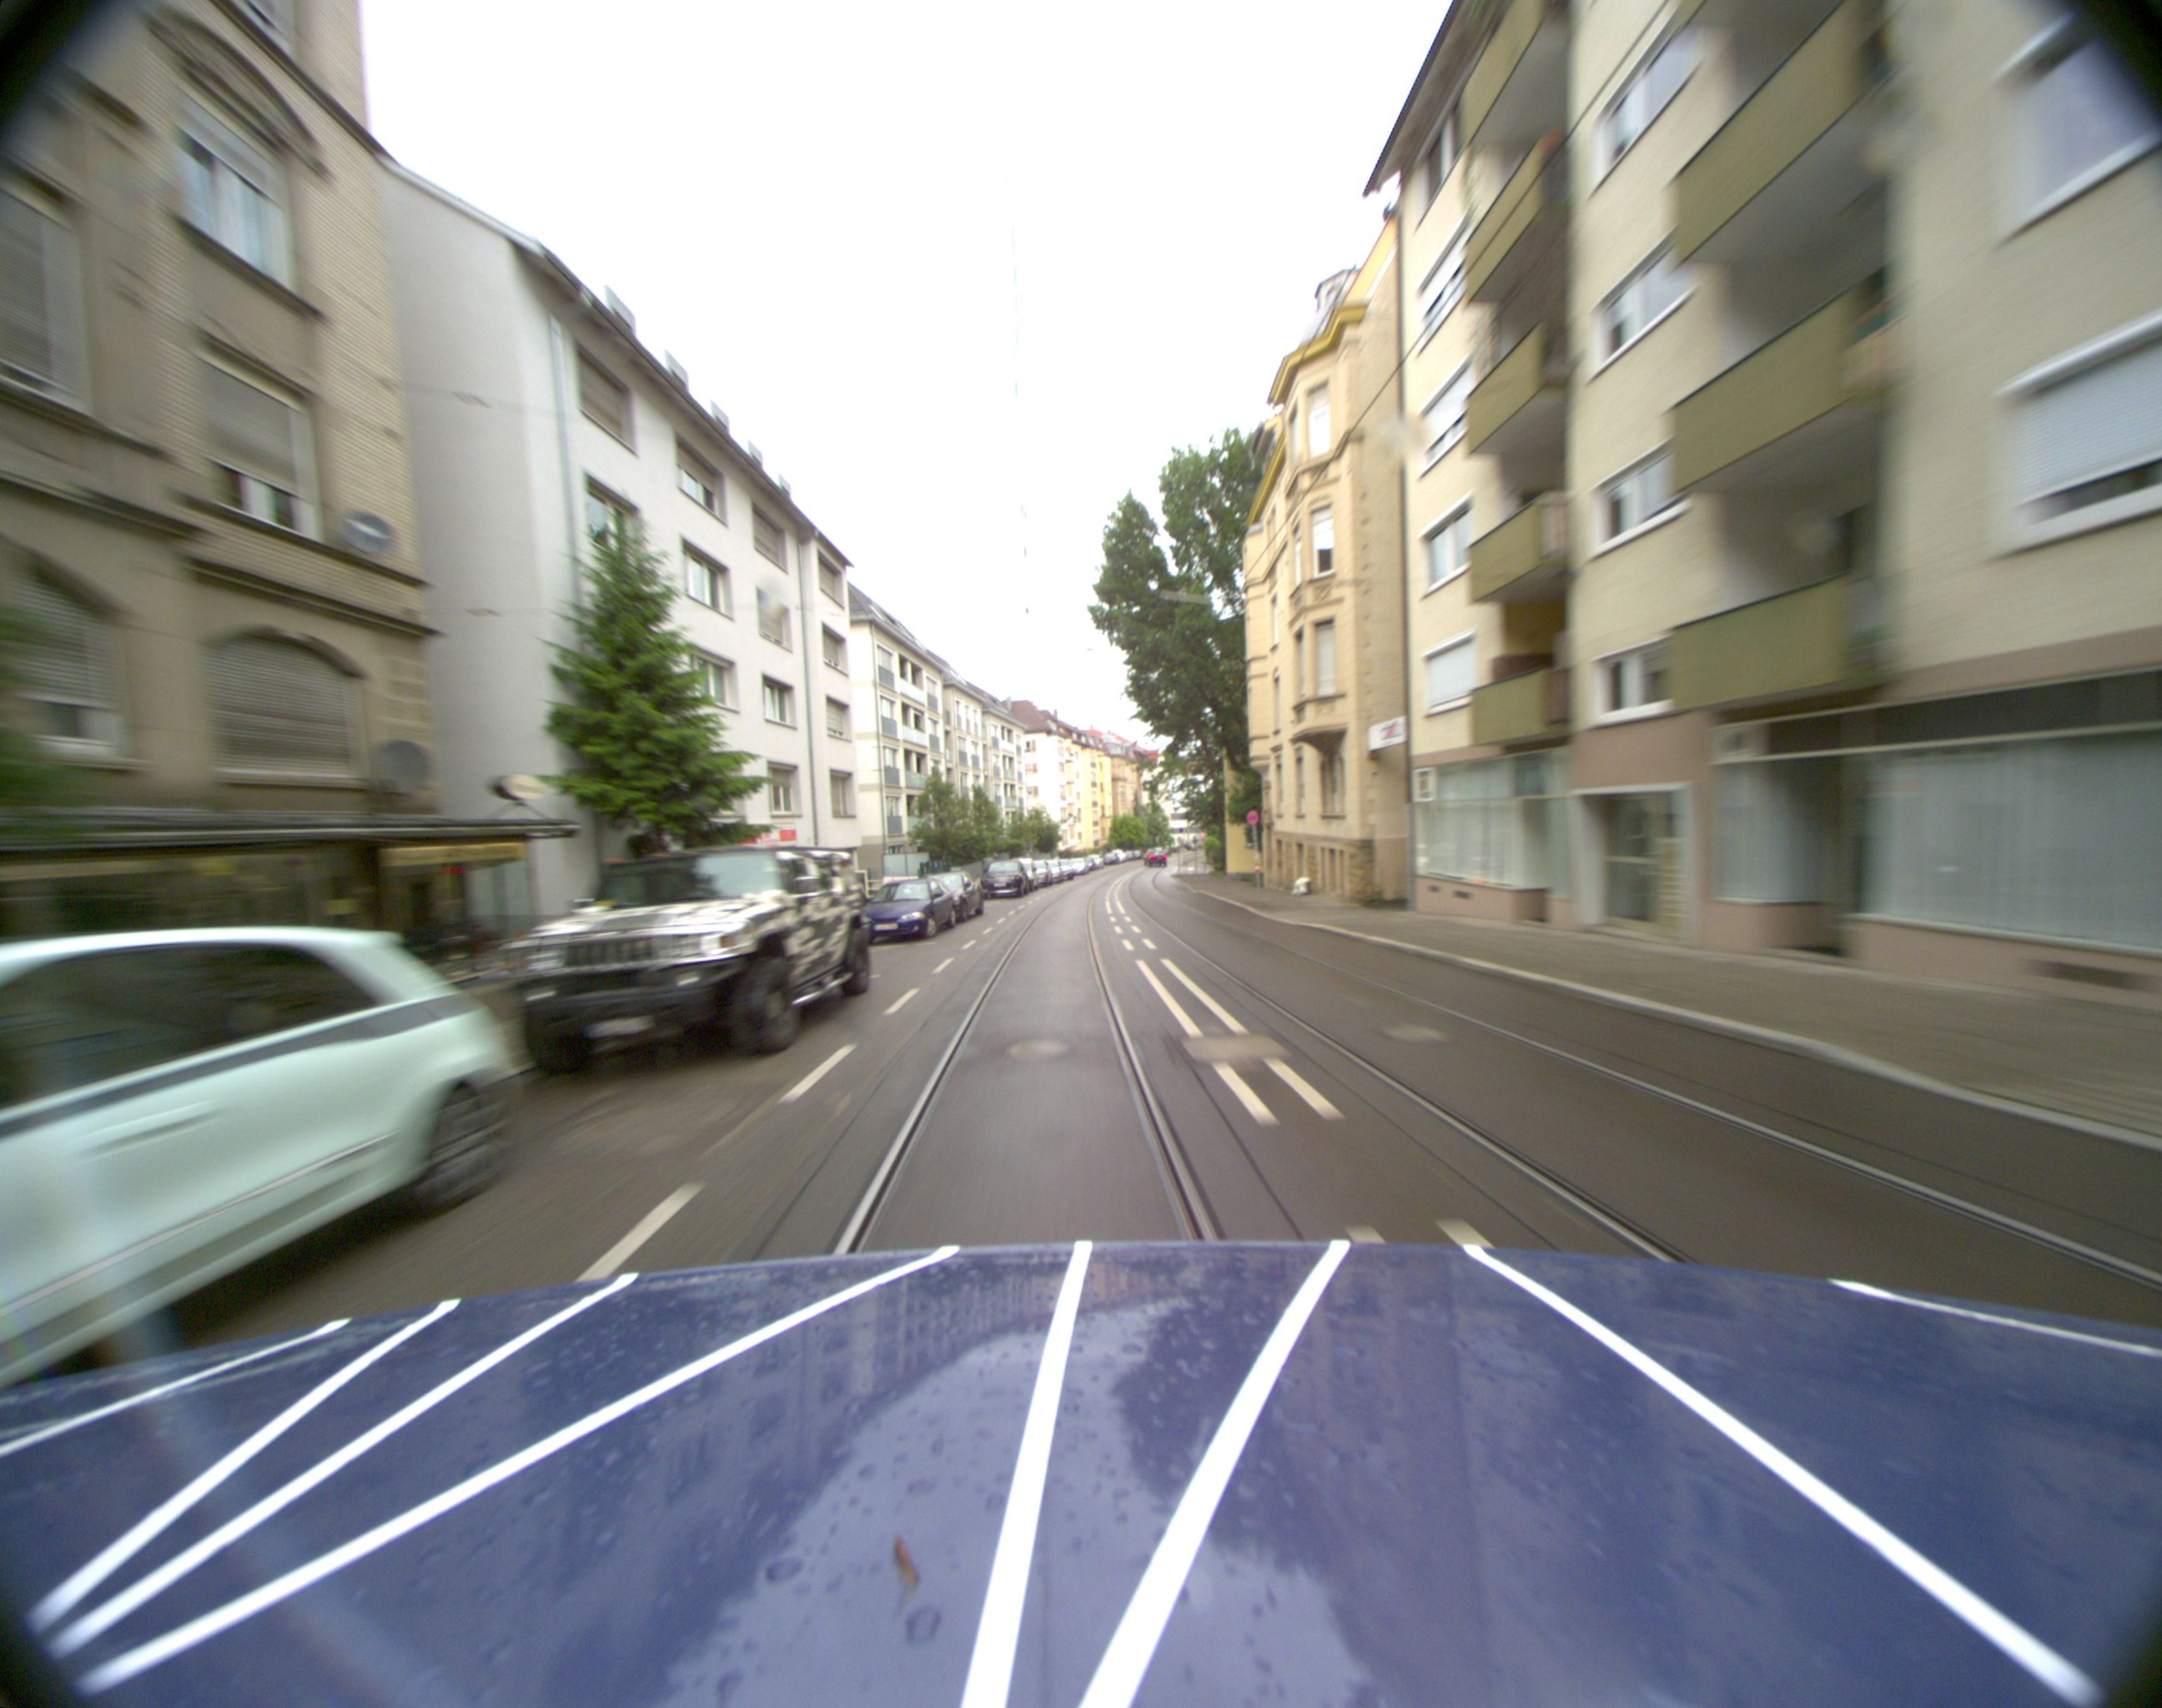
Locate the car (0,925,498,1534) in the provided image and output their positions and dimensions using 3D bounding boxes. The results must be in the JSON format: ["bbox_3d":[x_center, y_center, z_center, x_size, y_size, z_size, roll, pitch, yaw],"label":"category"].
[{"bbox_3d":[-3.887,1.208,2.272,1.564,1.537,3.583,-5,0,-4],"label":"car"}]

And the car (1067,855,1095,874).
[{"bbox_3d":[0.039,0.914,68.398,1.862,1.507,4.791,-3,0,7],"label":"car"}]

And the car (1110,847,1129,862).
[{"bbox_3d":[4.880,0.037,96.701,1.797,1.613,3.870,-4,1,11],"label":"car"}]

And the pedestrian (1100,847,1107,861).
[{"bbox_3d":[2.783,-0.005,94.848,0.716,1.703,0.665,1,2,14],"label":"pedestrian"}]

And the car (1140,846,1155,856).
[{"bbox_3d":[10.302,-0.525,117.888,1.555,1.360,3.127,-3,1,18],"label":"car"}]

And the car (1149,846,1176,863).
[{"bbox_3d":[8.787,0.024,81.502,2.067,1.668,4.775,0,2,16],"label":"car"}]

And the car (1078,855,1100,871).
[{"bbox_3d":[0.829,0.867,75.704,1.599,1.416,3.516,-3,0,9],"label":"car"}]

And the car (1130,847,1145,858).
[{"bbox_3d":[8.286,-0.275,110.967,1.657,1.360,3.638,-4,1,13],"label":"car"}]

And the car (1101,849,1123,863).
[{"bbox_3d":[3.796,0.271,91.559,1.797,1.444,4.106,-4,1,14],"label":"car"}]

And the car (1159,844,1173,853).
[{"bbox_3d":[14.682,-0.971,131.183,1.612,1.434,3.692,-3,1,18],"label":"car"}]

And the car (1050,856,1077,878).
[{"bbox_3d":[-1.336,0.983,59.376,1.980,1.575,4.566,-3,0,0],"label":"car"}]

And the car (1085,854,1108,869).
[{"bbox_3d":[1.701,0.754,81.221,1.721,1.458,4.393,-3,0,11],"label":"car"}]

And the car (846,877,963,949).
[{"bbox_3d":[-4.103,1.330,18.313,1.682,1.330,3.883,-4,0,2],"label":"car"}]

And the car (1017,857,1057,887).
[{"bbox_3d":[-2.734,1.084,48.223,1.836,1.646,4.687,-3,1,4],"label":"car"}]

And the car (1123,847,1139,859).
[{"bbox_3d":[6.975,-0.143,105.561,1.589,1.434,3.478,-4,1,11],"label":"car"}]

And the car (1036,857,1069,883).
[{"bbox_3d":[-1.946,1.072,53.636,1.836,1.618,4.664,-3,0,3],"label":"car"}]

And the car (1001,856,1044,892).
[{"bbox_3d":[-3.198,1.081,42.185,1.782,1.784,4.472,-3,0,2],"label":"car"}]

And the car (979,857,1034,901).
[{"bbox_3d":[-3.481,1.134,36.587,1.947,1.785,4.821,-4,1,1],"label":"car"}]

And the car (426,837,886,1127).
[{"bbox_3d":[-3.863,0.961,8.398,2.135,2.002,5.349,-5,0,-3],"label":"car"}]

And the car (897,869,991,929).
[{"bbox_3d":[-4.007,1.280,23.041,1.798,1.429,4.611,-4,0,2],"label":"car"}]
